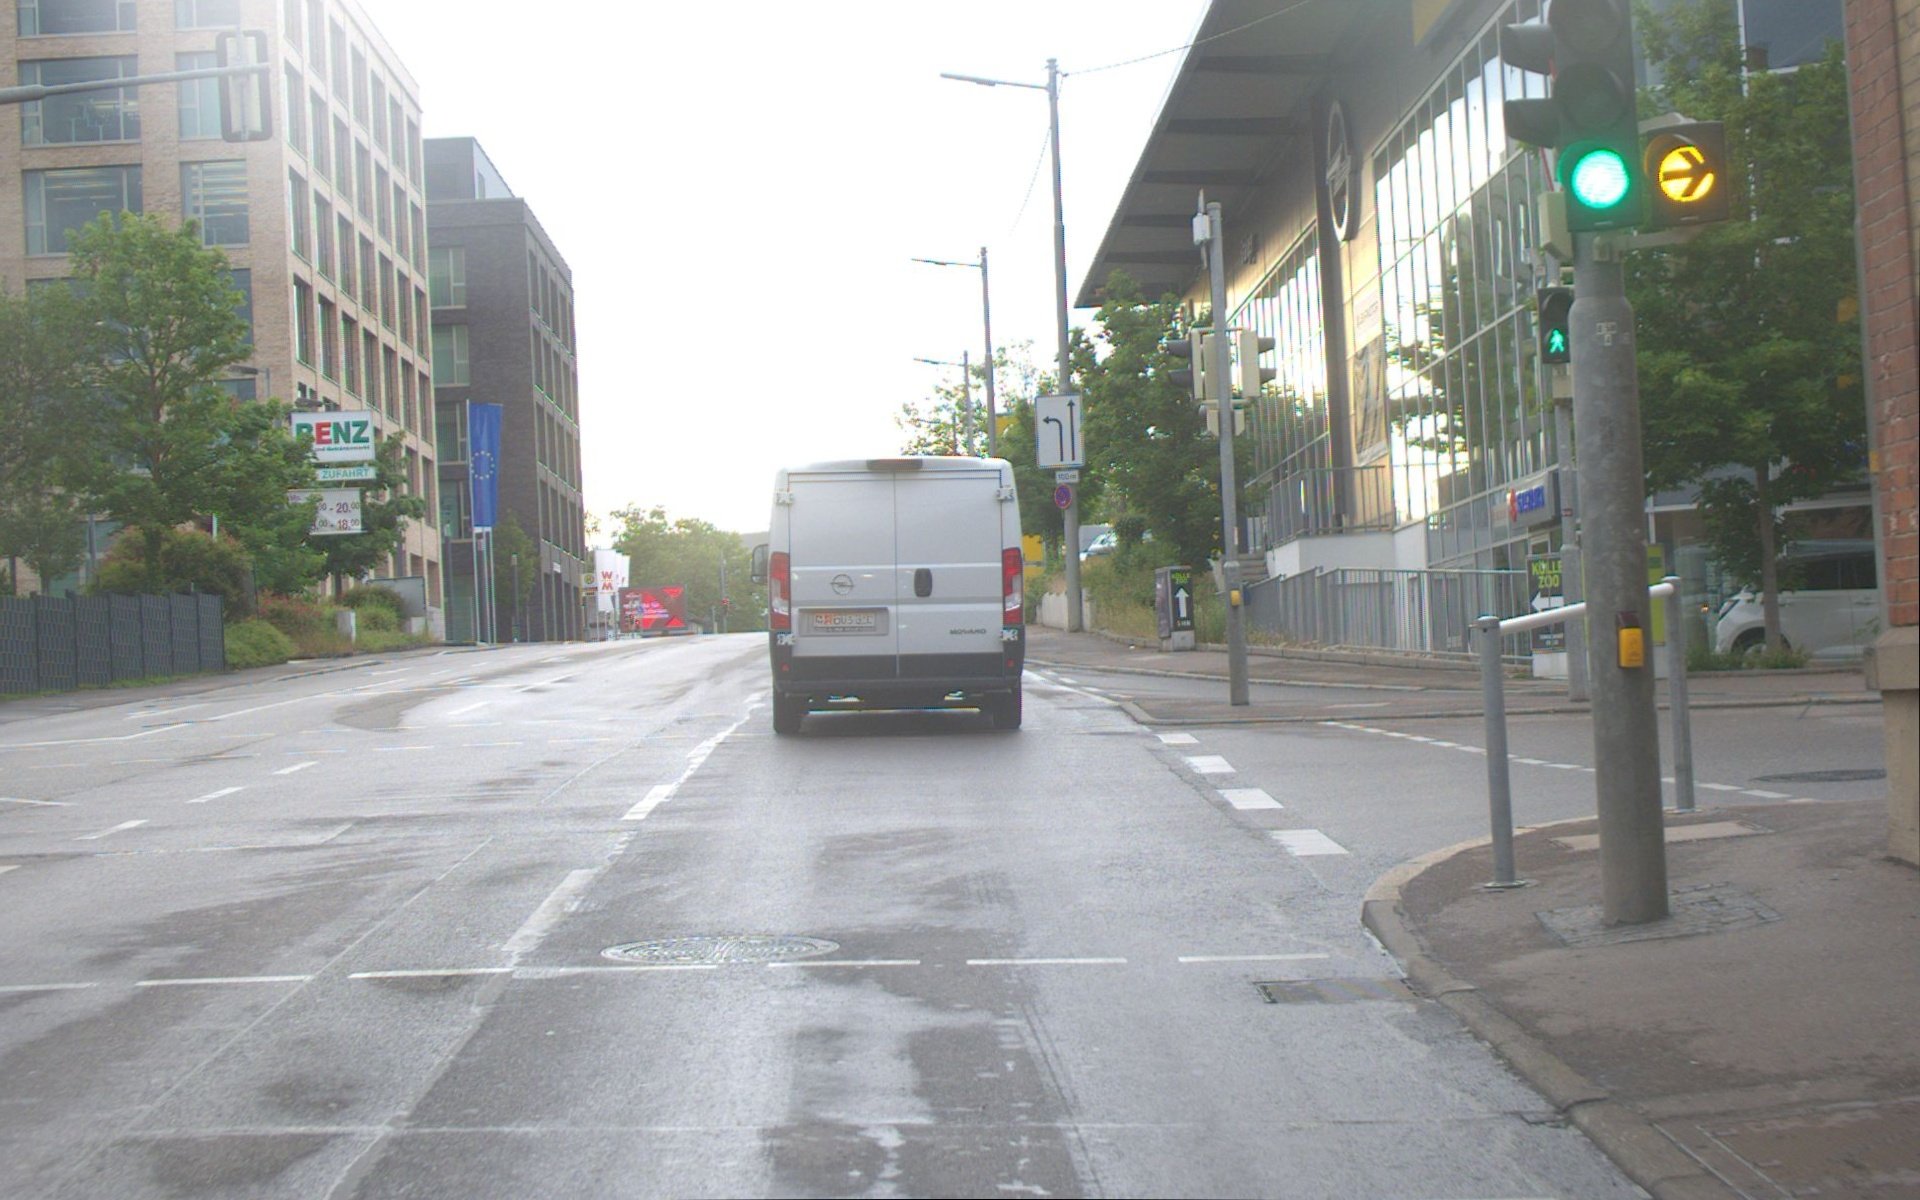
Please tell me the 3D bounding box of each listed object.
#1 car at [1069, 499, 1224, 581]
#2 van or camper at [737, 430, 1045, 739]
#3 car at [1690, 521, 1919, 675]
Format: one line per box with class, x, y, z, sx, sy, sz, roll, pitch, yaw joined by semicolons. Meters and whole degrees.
car;4.382;-1.387;80.155;1.996;1.705;4.422;-4;-1;25
van or camper;-0.564;-0.113;29.425;2.340;2.349;5.199;-2;0;-1
car;10.155;-0.026;37.247;3.992;1.503;1.895;-3;-4;27
